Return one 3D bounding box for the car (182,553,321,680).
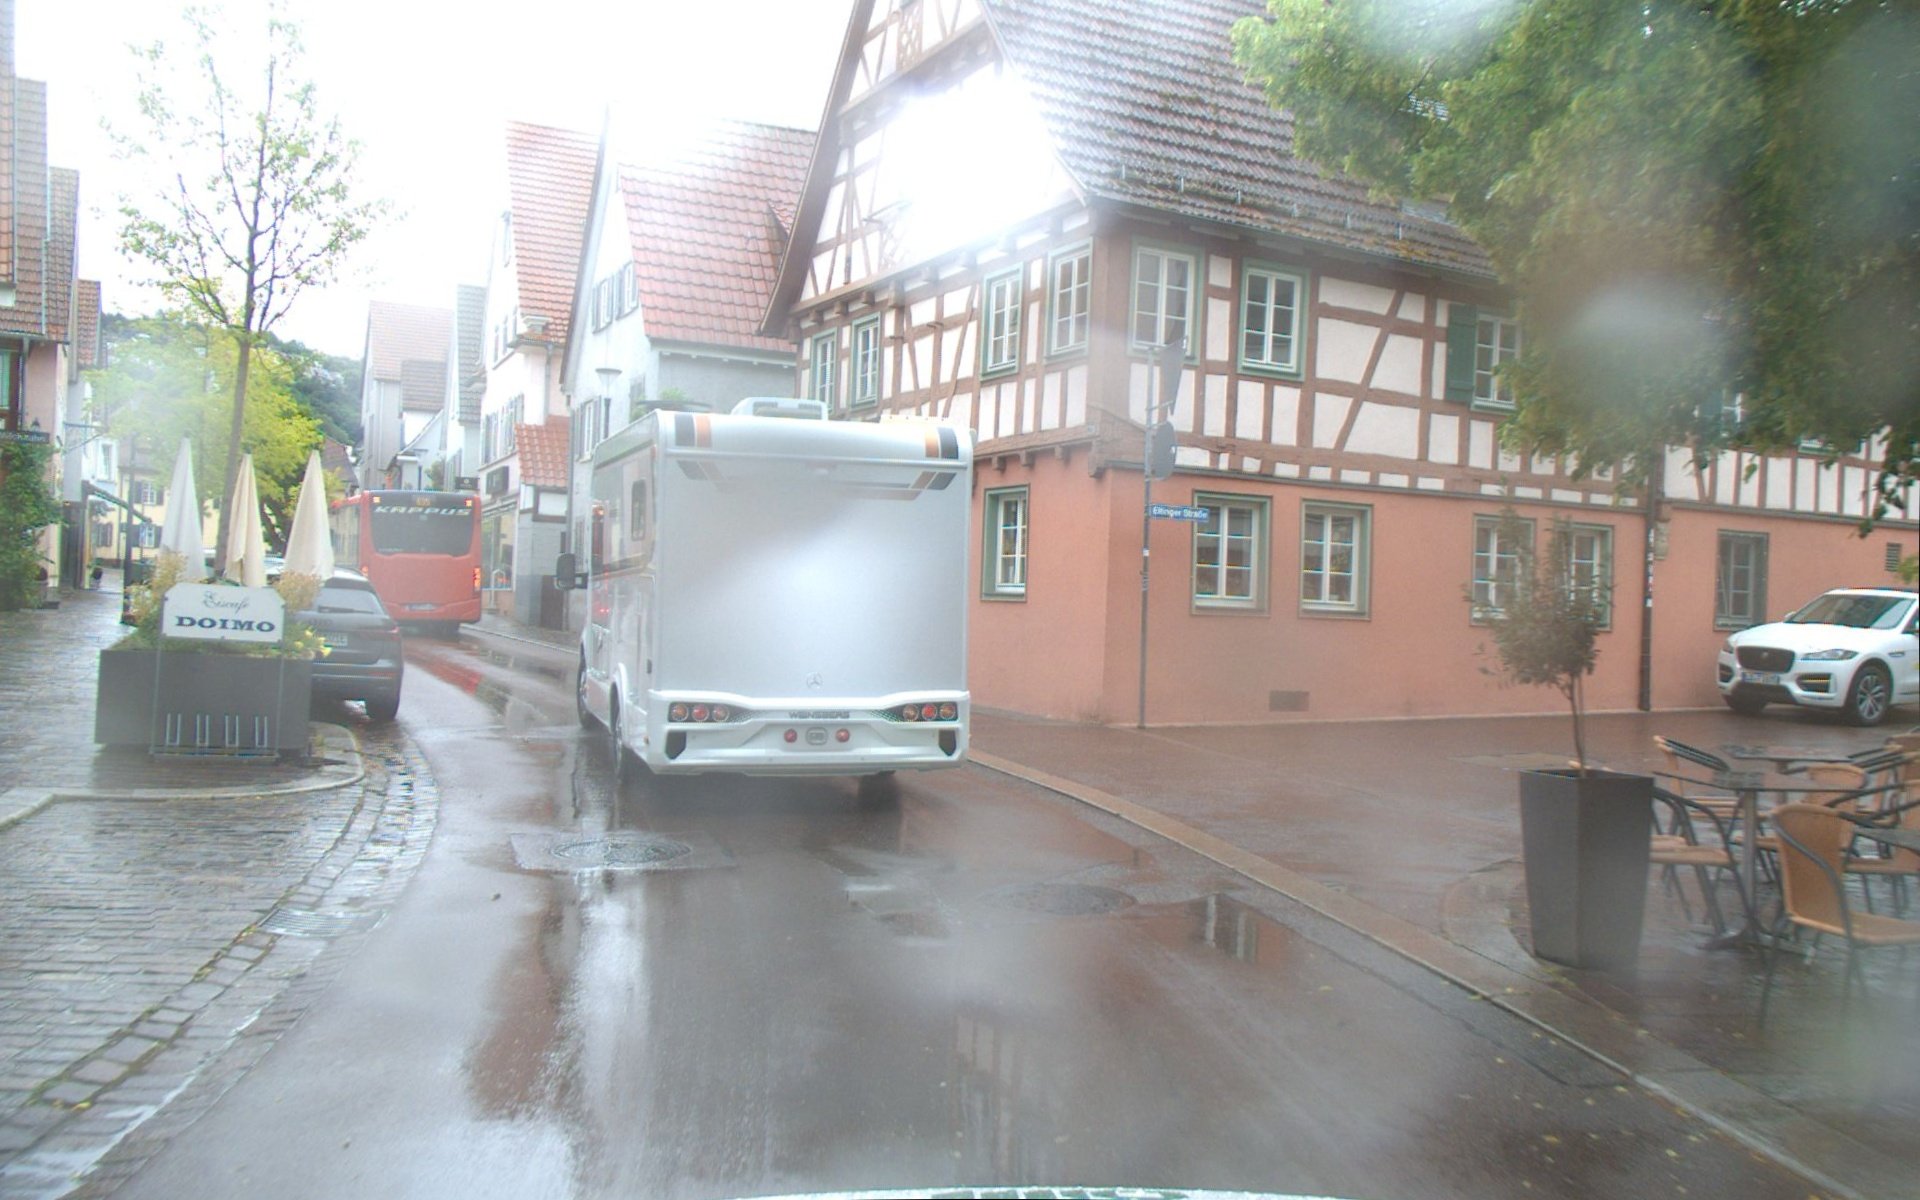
[{"bbox_3d":[-9.736,0.219,22.701,1.572,1.573,3.947,1,-1,-24],"label":"car"}]

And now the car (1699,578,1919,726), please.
[{"bbox_3d":[11.958,0.659,21.559,4.401,1.659,1.928,1,3,-28],"label":"car"}]

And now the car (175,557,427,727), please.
[{"bbox_3d":[-7.061,0.365,17.440,1.782,1.457,4.582,4,0,-30],"label":"car"}]

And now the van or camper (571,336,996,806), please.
[{"bbox_3d":[-1.820,-0.154,13.847,2.289,2.970,6.361,1,-1,-17],"label":"van or camper"}]

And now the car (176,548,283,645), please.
[{"bbox_3d":[-14.468,-0.055,32.785,1.748,1.704,4.445,3,-1,-24],"label":"car"}]

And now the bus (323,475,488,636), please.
[{"bbox_3d":[-12.703,-0.897,37.550,2.609,3.283,6.545,1,-1,-27],"label":"bus"}]

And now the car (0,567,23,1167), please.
[{"bbox_3d":[-3.087,0.624,1.838,1.955,1.480,4.367,1,-1,-7],"label":"car"}]
